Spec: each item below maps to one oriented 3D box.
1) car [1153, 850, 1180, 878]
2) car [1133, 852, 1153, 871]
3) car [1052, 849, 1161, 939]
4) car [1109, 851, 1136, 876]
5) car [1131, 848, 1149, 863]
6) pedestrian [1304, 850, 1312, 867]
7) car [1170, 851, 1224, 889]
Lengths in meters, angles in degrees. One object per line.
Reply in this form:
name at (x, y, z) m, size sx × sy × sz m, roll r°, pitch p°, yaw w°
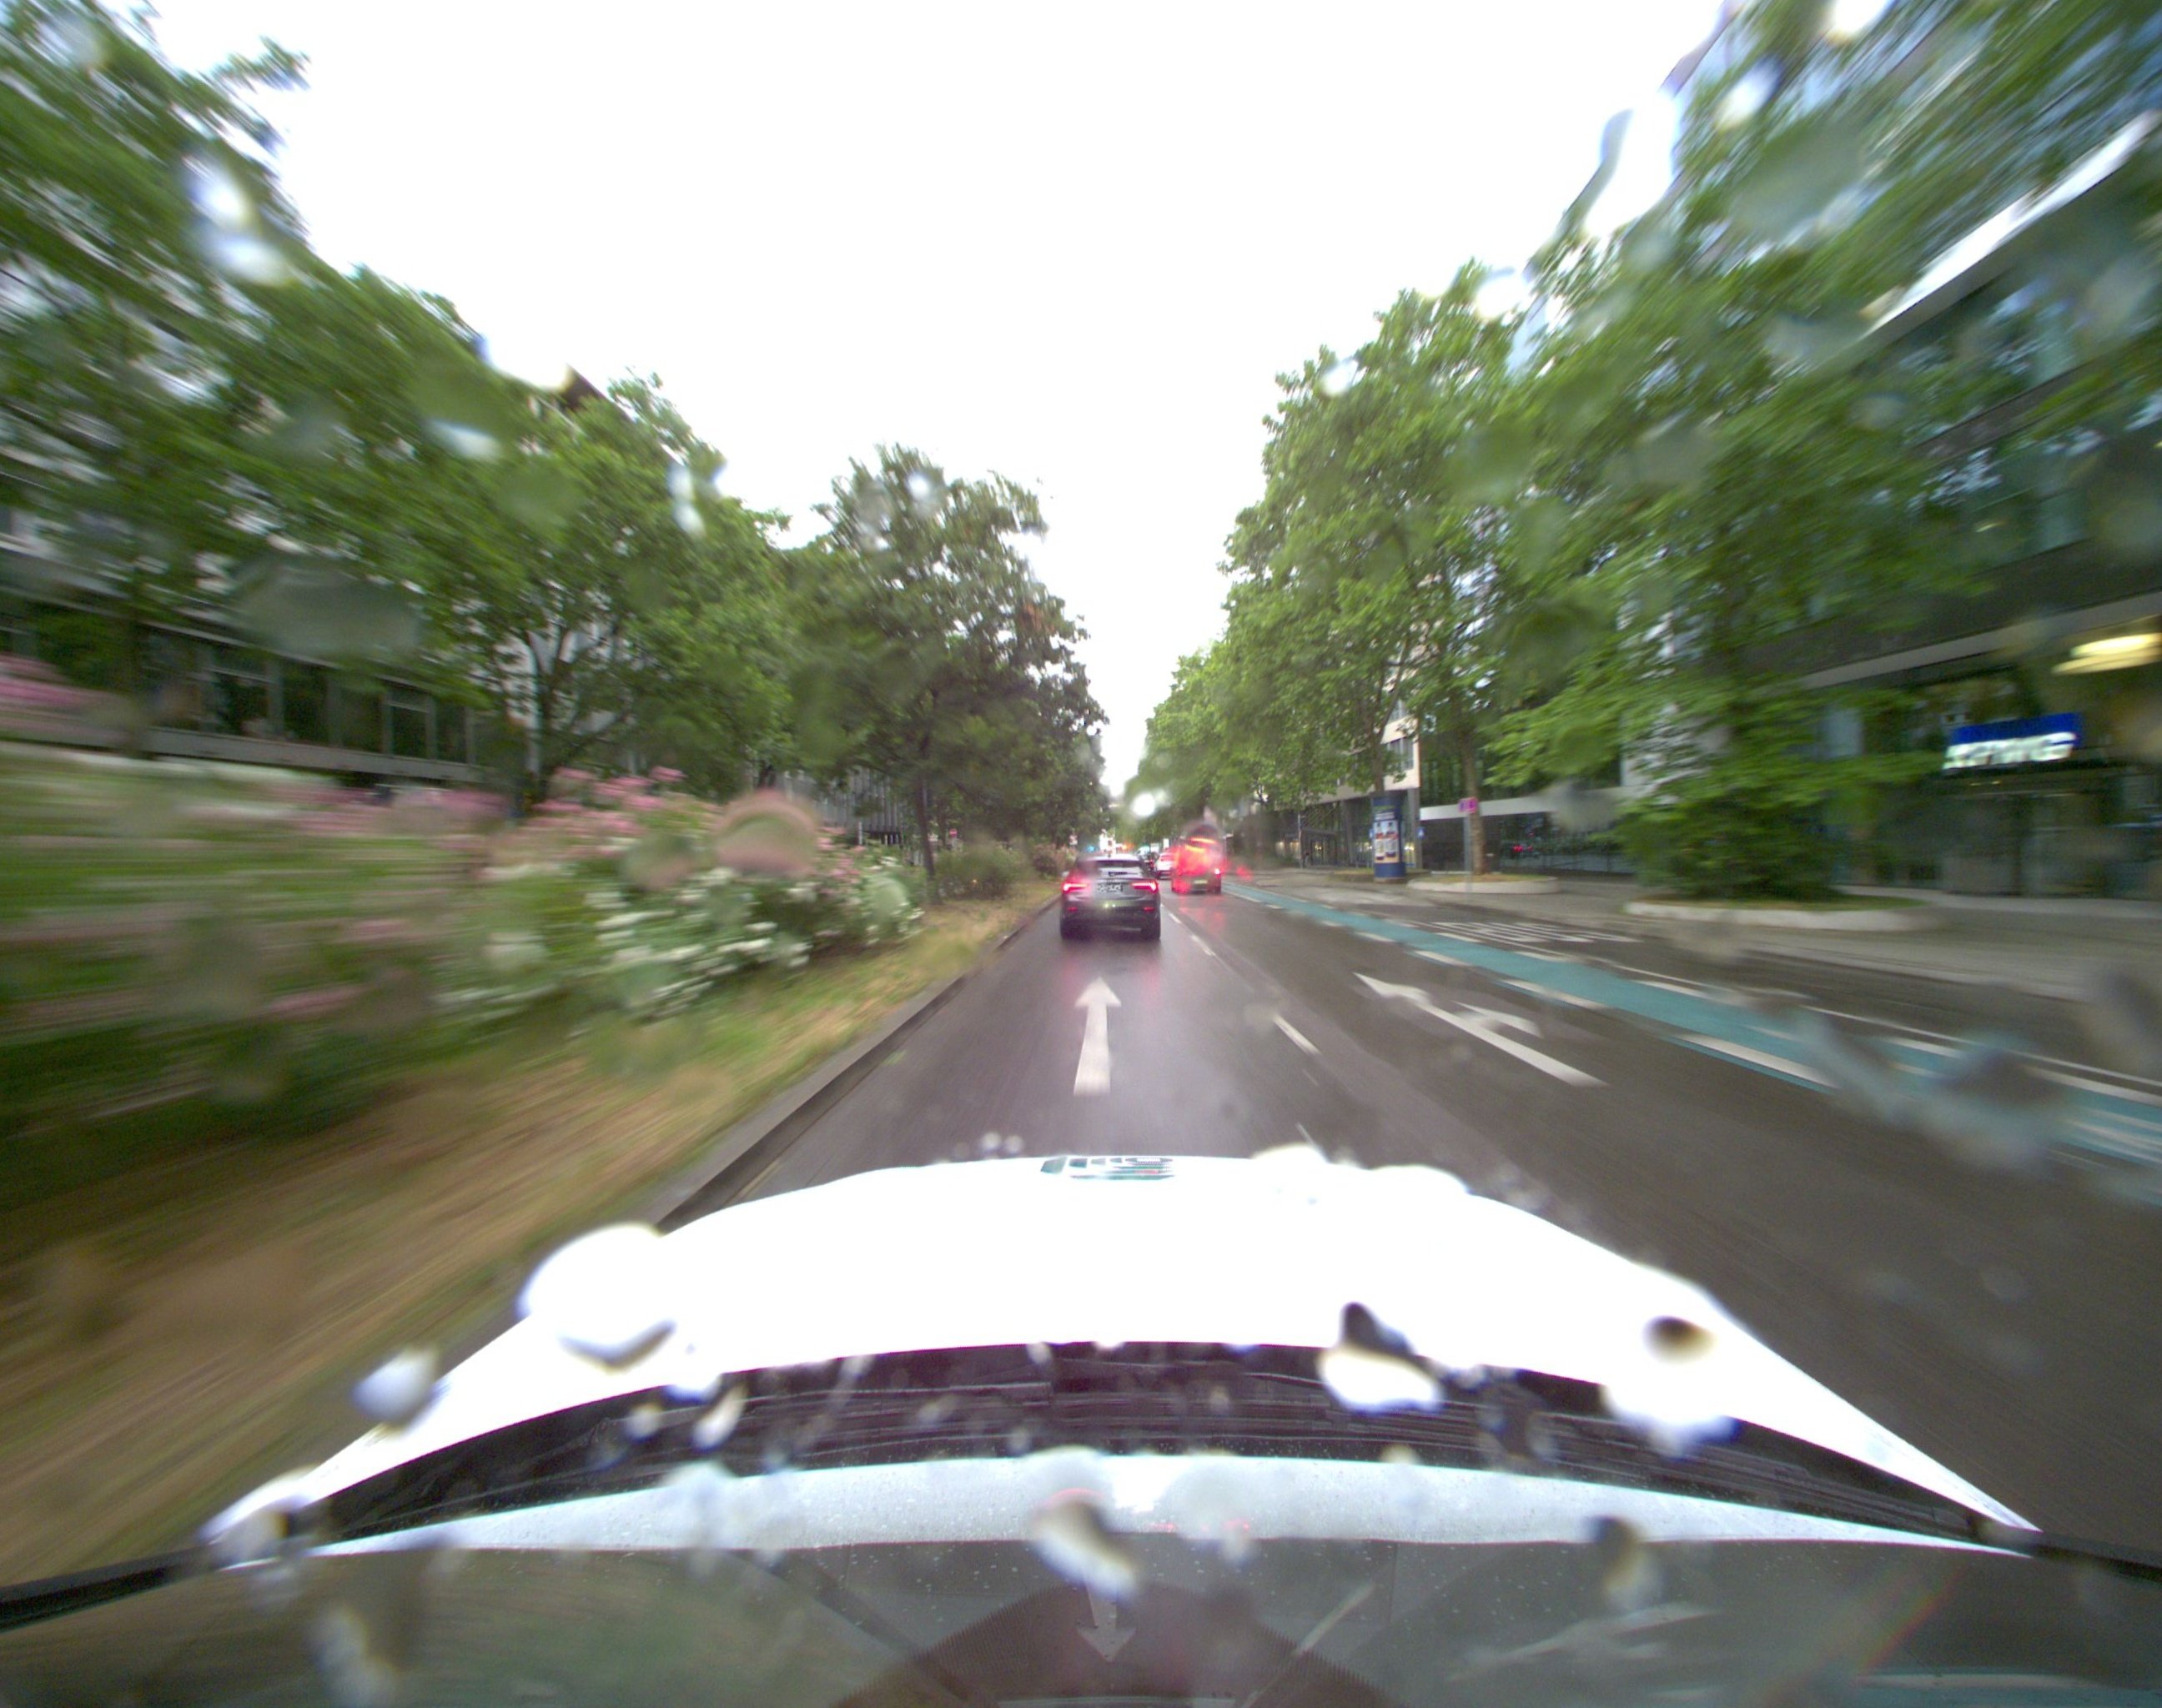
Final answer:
car at (5.344, 0.600, 51.079) m, size 1.427 × 1.685 × 2.981 m, roll -1°, pitch 0°, yaw 2°
car at (6.076, 0.718, 80.698) m, size 1.815 × 1.750 × 4.002 m, roll -1°, pitch 0°, yaw 2°
car at (0.577, 0.687, 16.228) m, size 1.855 × 1.532 × 4.531 m, roll -1°, pitch 0°, yaw 3°
car at (2.779, 0.628, 55.195) m, size 1.715 × 1.577 × 3.963 m, roll -1°, pitch 0°, yaw 2°
car at (7.006, 0.171, 97.422) m, size 1.986 × 1.750 × 4.002 m, roll -1°, pitch 0°, yaw 2°
pedestrian at (24.316, 0.494, 87.182) m, size 0.648 × 1.816 × 0.656 m, roll 0°, pitch 0°, yaw 1°
car at (4.651, 0.608, 33.128) m, size 1.758 × 1.413 × 4.002 m, roll -1°, pitch 0°, yaw 2°
